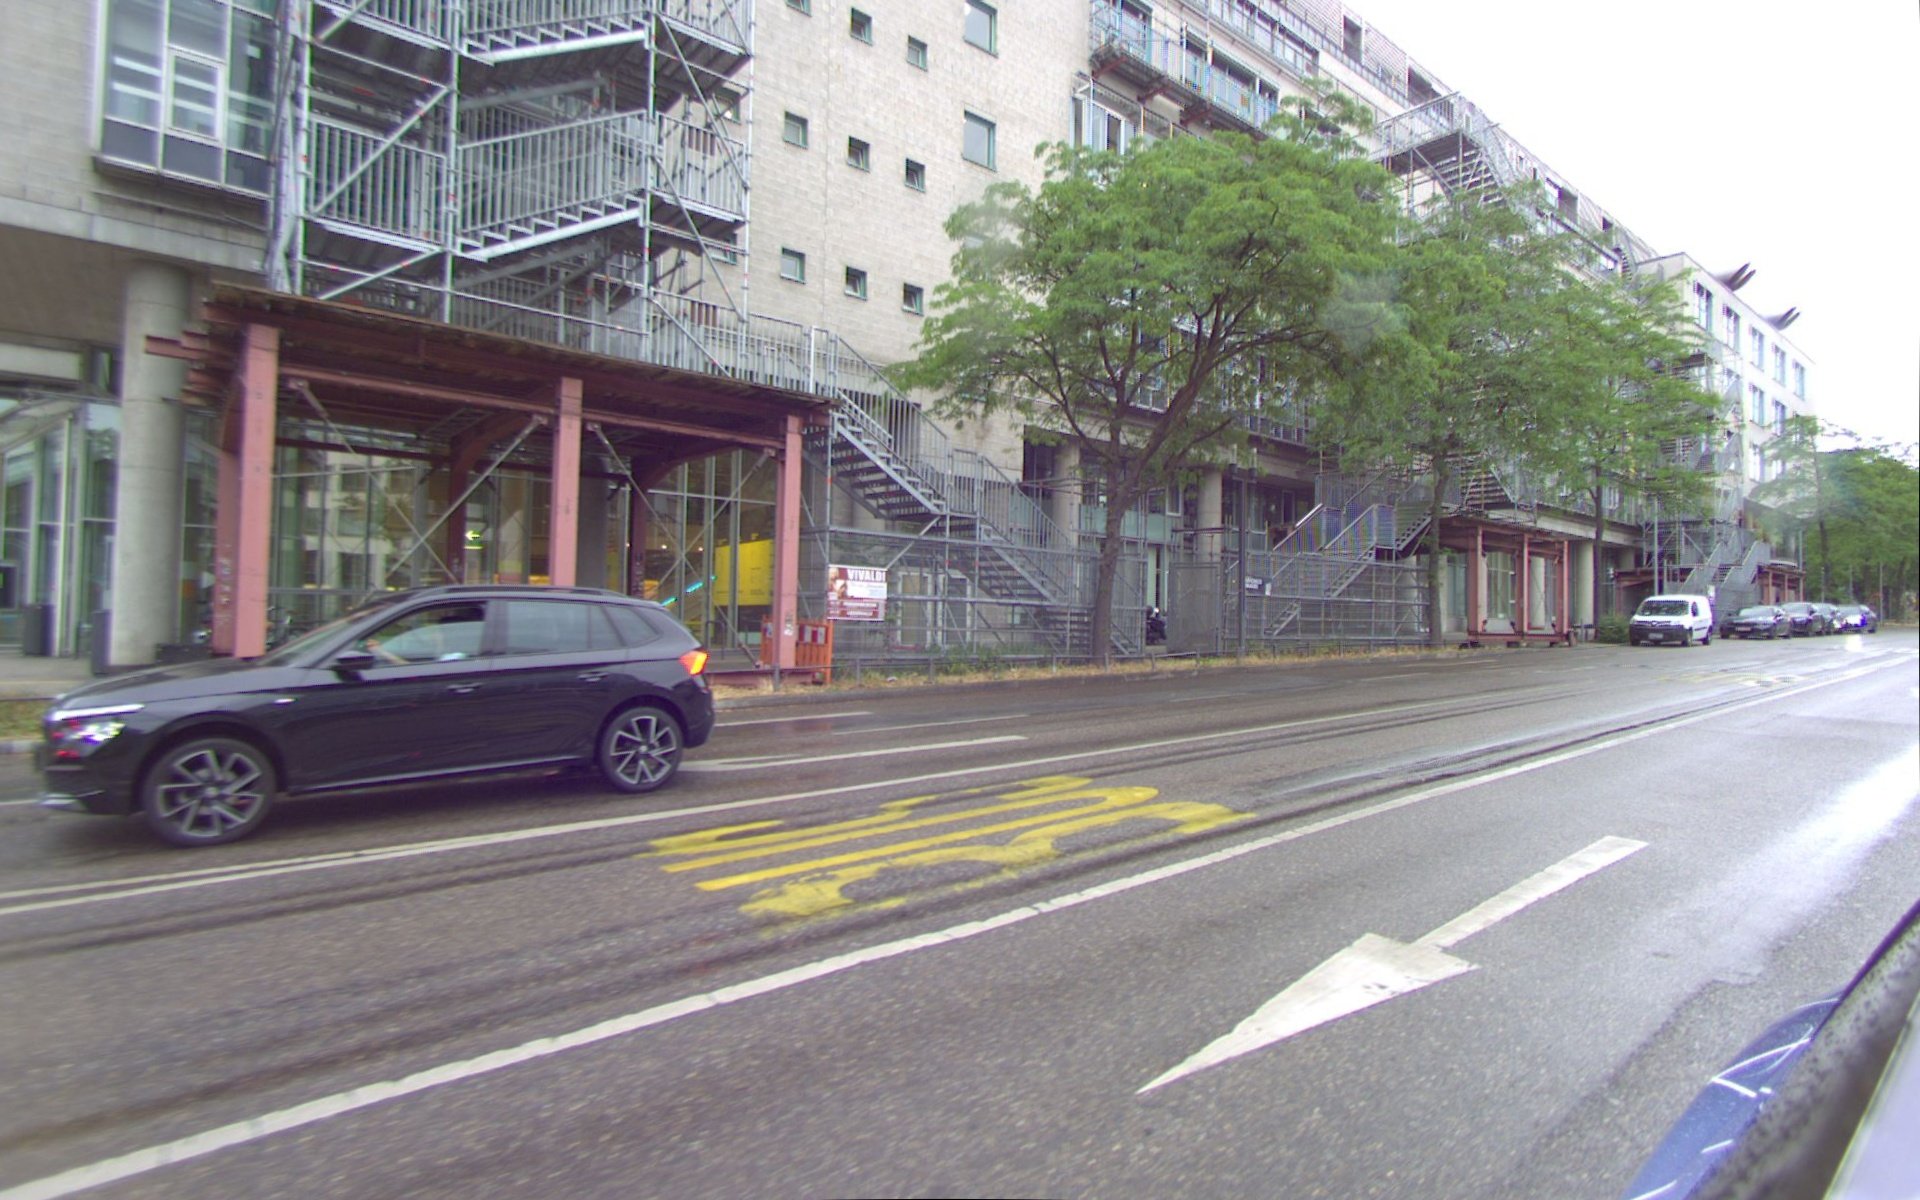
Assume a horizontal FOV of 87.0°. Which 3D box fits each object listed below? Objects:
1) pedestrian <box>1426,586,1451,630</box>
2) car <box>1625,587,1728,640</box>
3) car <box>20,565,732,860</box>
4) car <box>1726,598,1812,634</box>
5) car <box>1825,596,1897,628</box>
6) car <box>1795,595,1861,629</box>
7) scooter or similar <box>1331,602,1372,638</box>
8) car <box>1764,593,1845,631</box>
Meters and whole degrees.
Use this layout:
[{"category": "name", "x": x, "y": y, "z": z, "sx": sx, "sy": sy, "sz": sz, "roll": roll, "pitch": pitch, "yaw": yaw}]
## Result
[{"category": "pedestrian", "x": 19.162, "y": 0.321, "z": 40.519, "sx": 0.641, "sy": 1.764, "sz": 0.678, "roll": 0, "pitch": 0, "yaw": -38}, {"category": "car", "x": 25.582, "y": 0.460, "z": 36.069, "sx": 4.447, "sy": 1.772, "sz": 1.997, "roll": 0, "pitch": 0, "yaw": -41}, {"category": "car", "x": -3.920, "y": 0.595, "z": 7.331, "sx": 4.071, "sy": 1.559, "sz": 1.782, "roll": 0, "pitch": 0, "yaw": -39}, {"category": "car", "x": 34.615, "y": 0.678, "z": 43.257, "sx": 4.831, "sy": 1.456, "sz": 1.873, "roll": 1, "pitch": 0, "yaw": -39}, {"category": "car", "x": 48.468, "y": 0.620, "z": 54.403, "sx": 5.191, "sy": 1.621, "sz": 1.999, "roll": 1, "pitch": 0, "yaw": -38}, {"category": "car", "x": 43.747, "y": 0.589, "z": 50.975, "sx": 4.512, "sy": 1.621, "sz": 1.864, "roll": 1, "pitch": 0, "yaw": -41}, {"category": "scooter or similar", "x": 13.163, "y": 0.663, "z": 33.995, "sx": 1.520, "sy": 1.176, "sz": 0.632, "roll": 0, "pitch": 0, "yaw": -41}, {"category": "car", "x": 39.718, "y": 0.550, "z": 47.563, "sx": 4.774, "sy": 1.667, "sz": 1.998, "roll": 1, "pitch": 0, "yaw": -39}]
